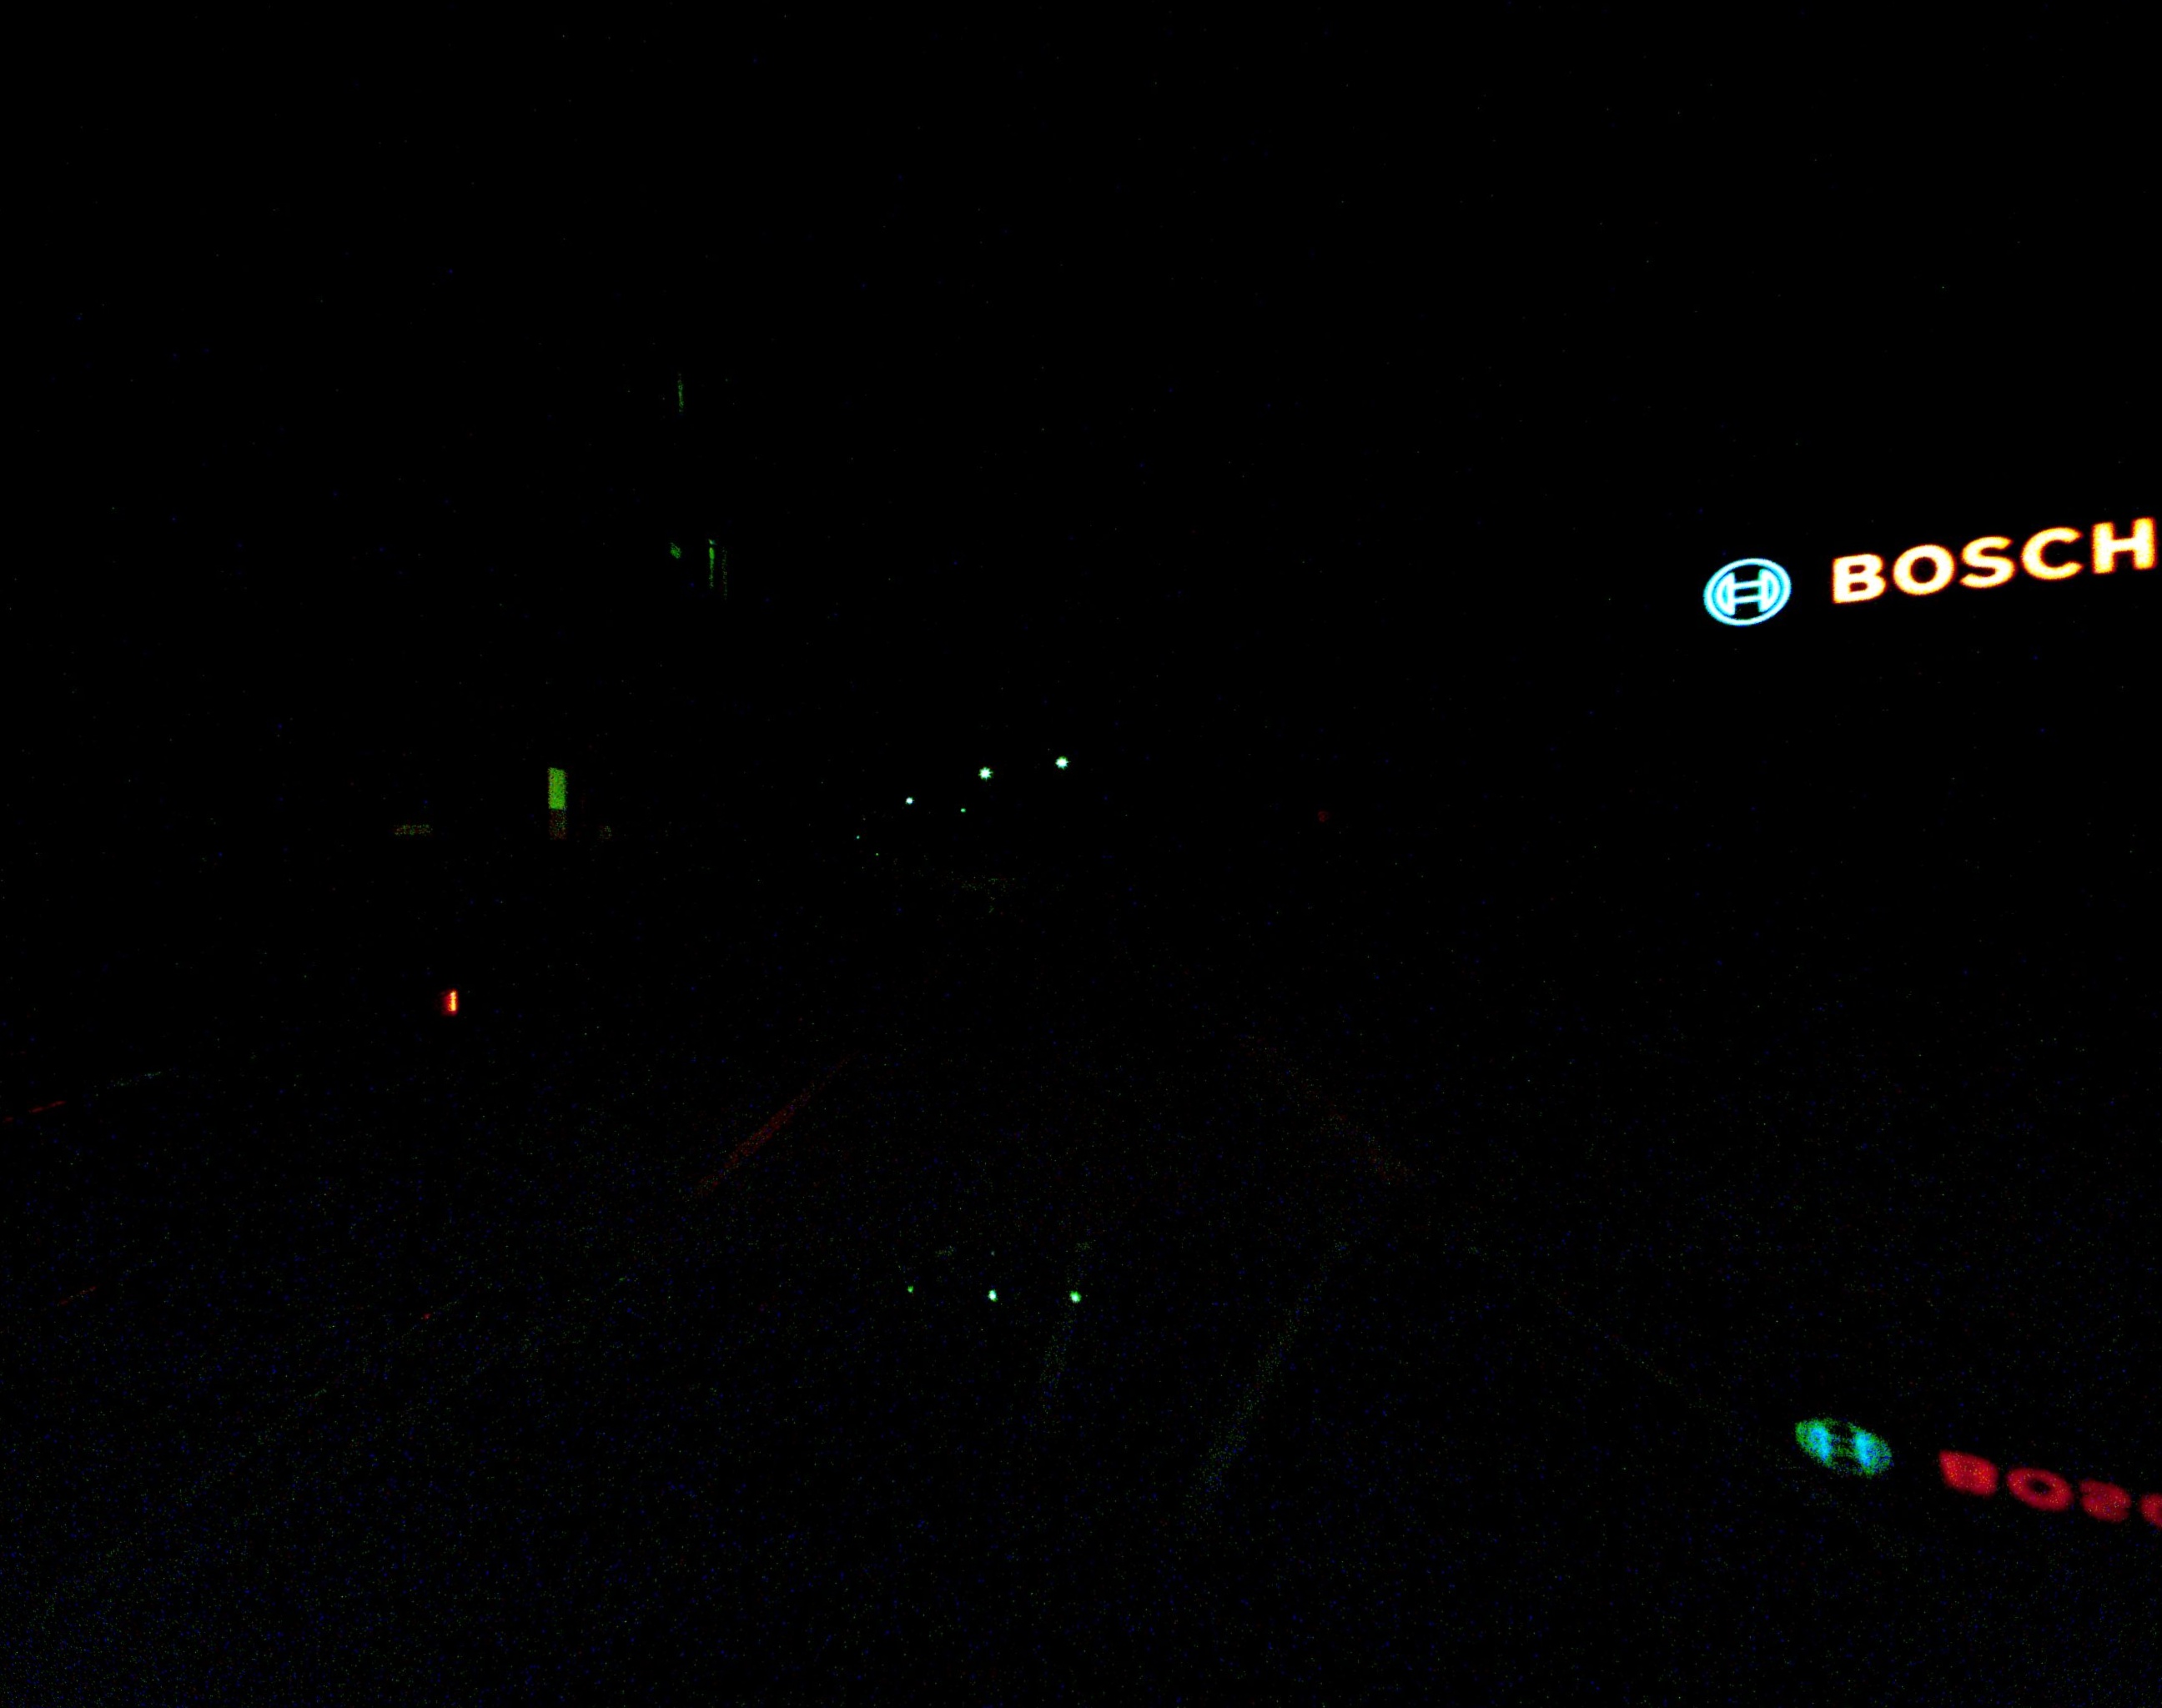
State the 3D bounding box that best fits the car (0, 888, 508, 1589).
[{"bbox_3d":[-3.482,1.013,1.336,1.674,1.601,4.228,-1,1,0],"label":"car"}]
